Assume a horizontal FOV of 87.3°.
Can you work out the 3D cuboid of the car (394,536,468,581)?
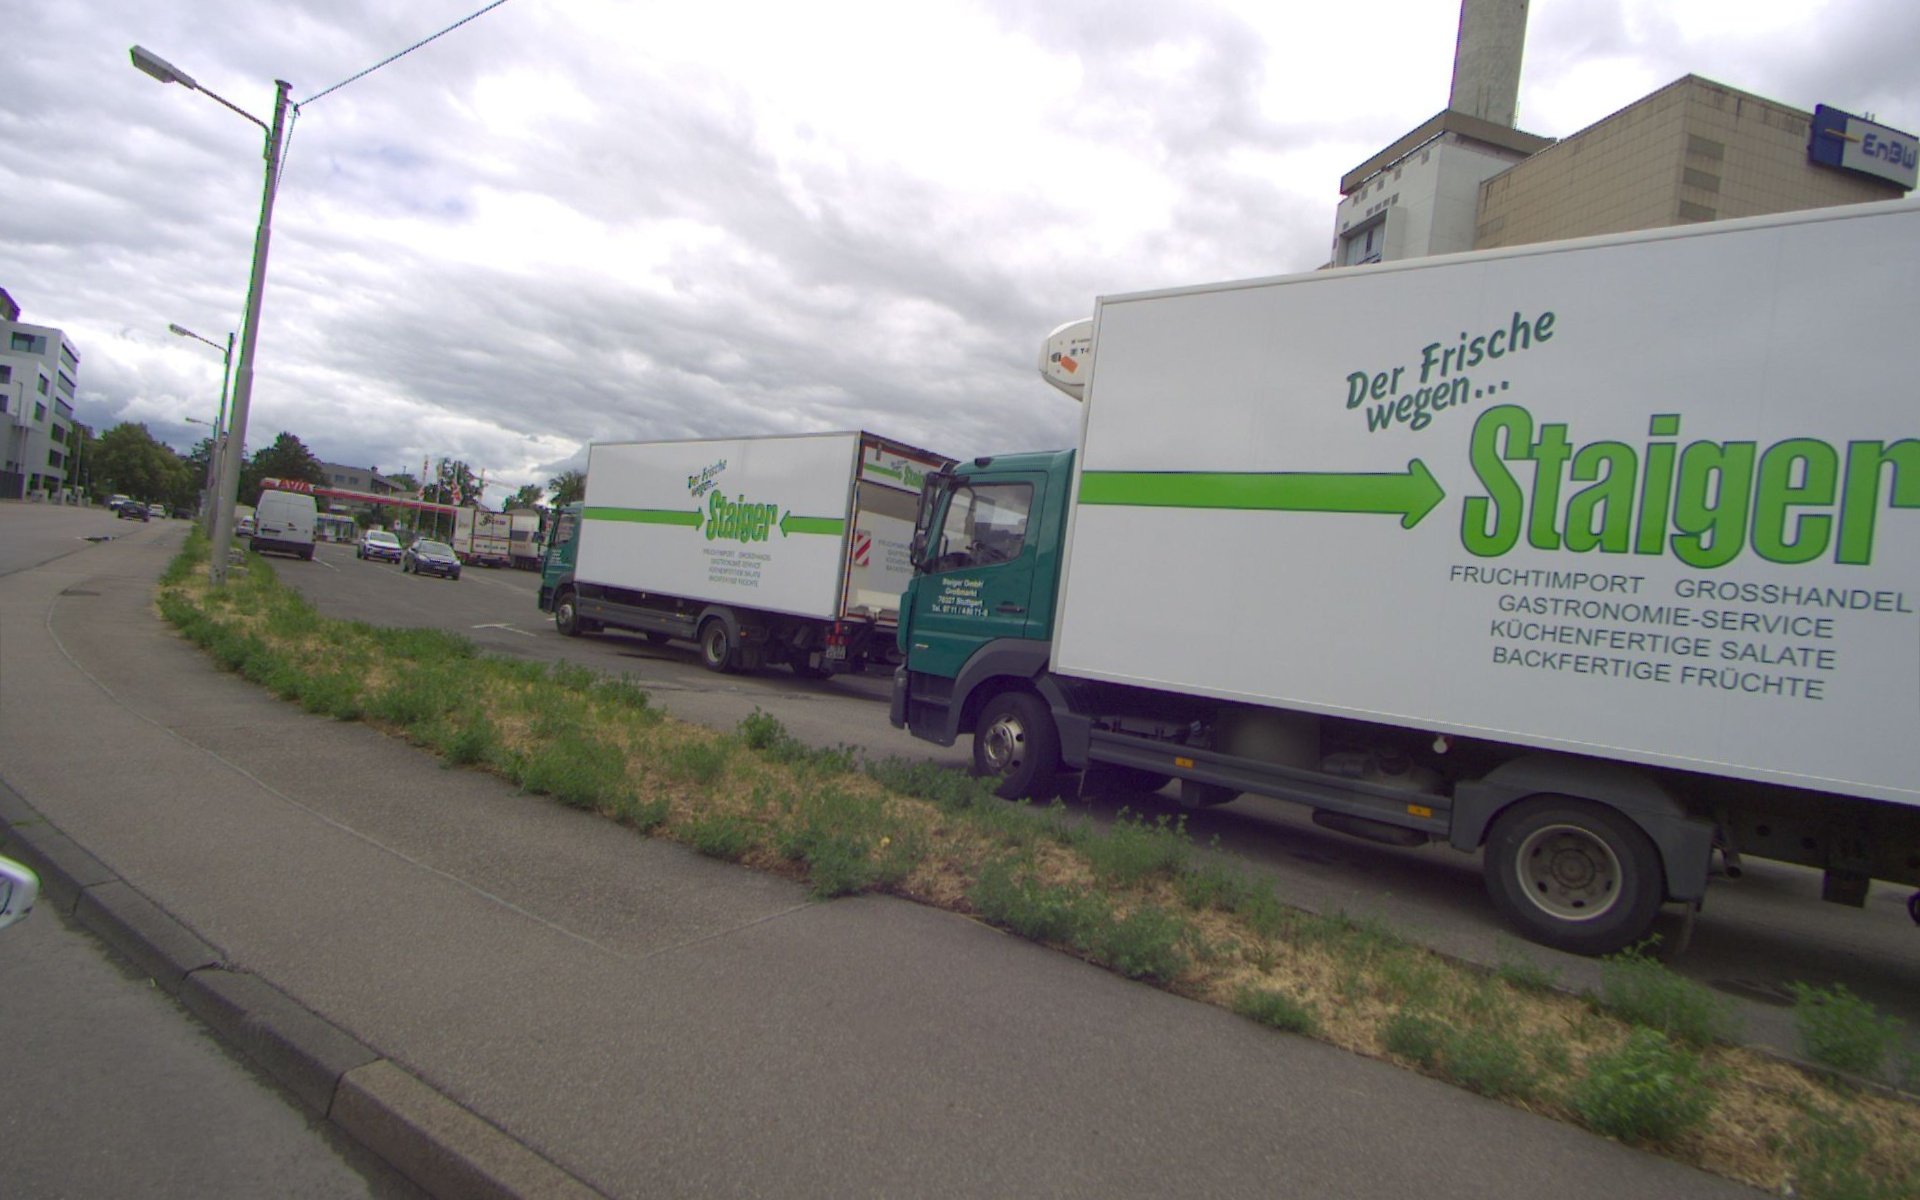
[{"bbox_3d":[-22.963,-1.828,43.571,1.883,1.462,4.380,10,-2,-39],"label":"car"}]

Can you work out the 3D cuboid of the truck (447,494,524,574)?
[{"bbox_3d":[-34.978,-4.836,73.991,3.288,5.157,8.432,7,0,-35],"label":"truck"}]

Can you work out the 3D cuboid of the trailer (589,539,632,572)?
[{"bbox_3d":[-47.958,-6.131,137.799,2.999,3.740,7.410,7,1,-38],"label":"trailer"}]

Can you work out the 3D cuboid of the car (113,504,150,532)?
[{"bbox_3d":[-65.685,-6.527,79.809,1.984,1.772,3.957,7,1,-38],"label":"car"}]

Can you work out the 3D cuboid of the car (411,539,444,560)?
[{"bbox_3d":[-52.596,-4.993,99.293,1.985,1.727,3.956,7,0,-39],"label":"car"}]

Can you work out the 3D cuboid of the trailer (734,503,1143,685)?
[{"bbox_3d":[-1.124,-0.380,31.382,12.886,4.027,3.056,8,1,33],"label":"trailer"}]

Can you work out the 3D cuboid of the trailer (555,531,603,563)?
[{"bbox_3d":[-52.329,-7.311,137.846,3.017,3.673,10.030,7,1,-38],"label":"trailer"}]

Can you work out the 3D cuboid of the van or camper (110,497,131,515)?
[{"bbox_3d":[-119.700,-13.422,143.451,1.983,2.284,3.959,7,0,-37],"label":"van or camper"}]

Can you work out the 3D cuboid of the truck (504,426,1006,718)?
[{"bbox_3d":[-4.282,-0.741,18.139,10.290,3.876,2.976,8,-1,42],"label":"truck"}]

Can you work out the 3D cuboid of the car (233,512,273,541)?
[{"bbox_3d":[-45.770,-4.736,65.049,1.881,1.462,4.384,10,-2,-36],"label":"car"}]

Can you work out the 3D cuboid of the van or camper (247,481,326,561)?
[{"bbox_3d":[-27.138,-3.148,40.438,2.243,2.680,6.054,7,0,-36],"label":"van or camper"}]

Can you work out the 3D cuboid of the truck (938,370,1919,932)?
[{"bbox_3d":[4.151,0.113,10.362,8.480,3.675,3.061,6,-1,39],"label":"truck"}]

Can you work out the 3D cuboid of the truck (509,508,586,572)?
[{"bbox_3d":[-31.166,-4.570,75.741,3.288,4.197,8.433,7,0,-35],"label":"truck"}]

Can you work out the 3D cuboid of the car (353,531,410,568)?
[{"bbox_3d":[-31.008,-2.722,53.856,1.881,1.632,4.380,8,-1,-39],"label":"car"}]

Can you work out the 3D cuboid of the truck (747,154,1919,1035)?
[{"bbox_3d":[2.635,-0.164,7.214,8.476,3.674,3.063,7,-1,38],"label":"truck"}]
